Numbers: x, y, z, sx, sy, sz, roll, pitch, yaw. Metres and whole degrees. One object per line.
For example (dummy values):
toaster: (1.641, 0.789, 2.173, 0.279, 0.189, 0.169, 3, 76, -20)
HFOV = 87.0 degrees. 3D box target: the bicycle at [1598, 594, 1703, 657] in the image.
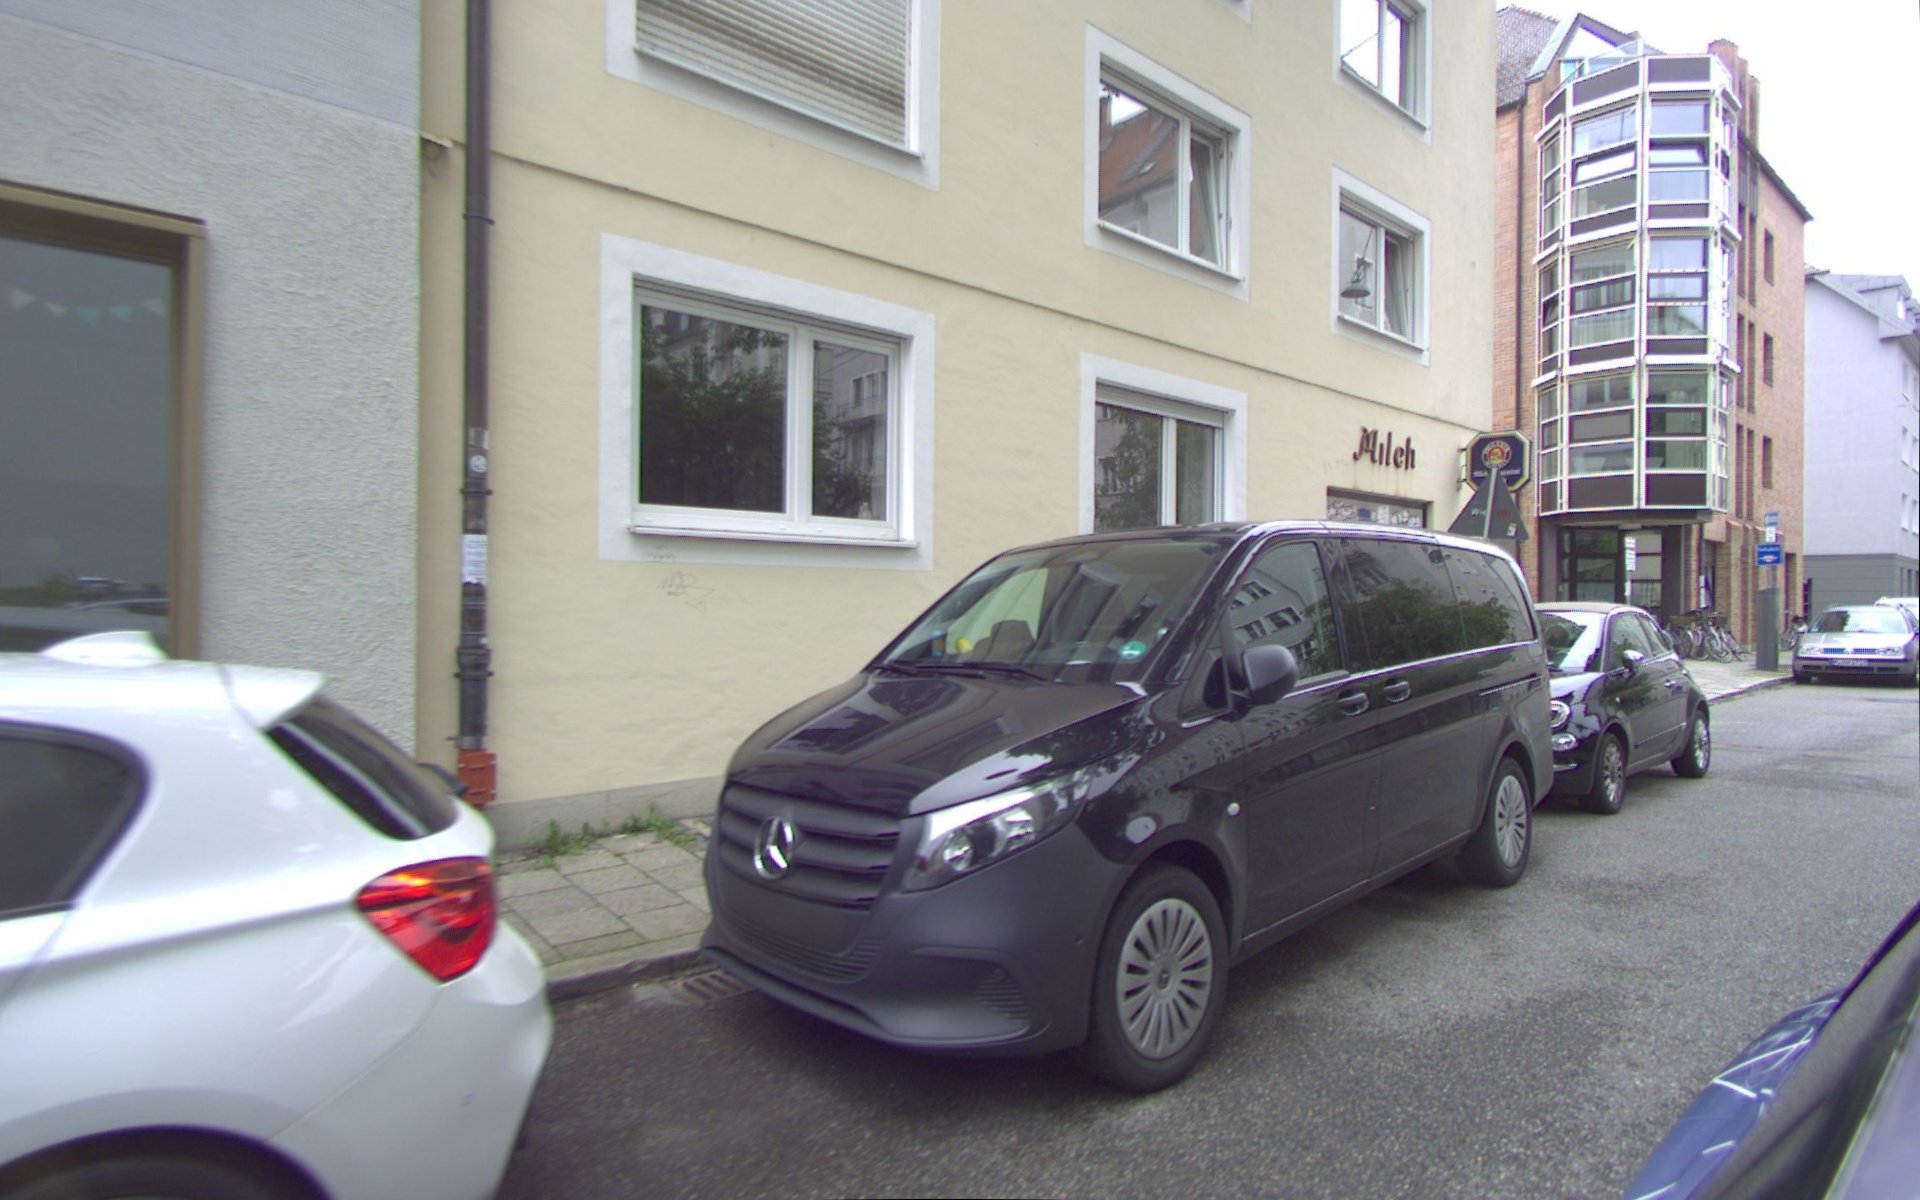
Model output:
bicycle: (14.648, 0.525, 21.513, 0.434, 1.201, 1.755, 1, 2, -34)

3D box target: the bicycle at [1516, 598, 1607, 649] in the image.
bicycle: (13.662, 0.516, 23.019, 0.434, 1.086, 1.755, 1, 1, -34)

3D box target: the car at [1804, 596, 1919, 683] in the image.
car: (17.209, 0.667, 18.863, 4.285, 1.453, 1.722, 0, -1, -43)

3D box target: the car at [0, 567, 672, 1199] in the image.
car: (-2.800, 0.713, 1.381, 4.301, 1.480, 1.772, 0, -1, -39)

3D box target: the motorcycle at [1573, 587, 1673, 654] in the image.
motorcycle: (14.720, 0.432, 22.512, 1.761, 1.402, 0.543, 3, 2, 45)

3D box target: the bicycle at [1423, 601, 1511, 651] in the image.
bicycle: (12.019, 0.597, 24.062, 0.434, 1.086, 1.887, 1, 1, -34)

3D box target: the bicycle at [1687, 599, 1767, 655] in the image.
bicycle: (17.508, 0.594, 23.108, 1.743, 1.232, 0.744, 0, 1, -27)

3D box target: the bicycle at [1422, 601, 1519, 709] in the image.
bicycle: (6.471, 0.655, 12.789, 1.787, 1.229, 0.410, -2, 4, -41)

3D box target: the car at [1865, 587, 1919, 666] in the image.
car: (21.431, 0.548, 22.342, 4.379, 1.636, 1.722, 0, -1, -43)

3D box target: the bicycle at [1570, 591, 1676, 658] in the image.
bicycle: (13.915, 0.496, 21.298, 1.786, 1.339, 0.583, 0, 1, 25)

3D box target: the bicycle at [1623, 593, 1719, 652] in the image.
bicycle: (16.116, 0.494, 22.989, 0.581, 1.244, 1.881, 0, 1, -11)

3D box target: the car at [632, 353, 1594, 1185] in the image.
car: (1.152, 0.421, 4.831, 4.803, 2.002, 1.992, 0, -2, -43)

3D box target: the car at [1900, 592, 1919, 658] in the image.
car: (24.712, 0.594, 25.203, 3.743, 1.577, 1.617, 0, -1, -43)

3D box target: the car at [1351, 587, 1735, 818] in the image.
car: (4.872, 0.678, 8.293, 3.475, 1.490, 1.637, 0, -1, -41)
